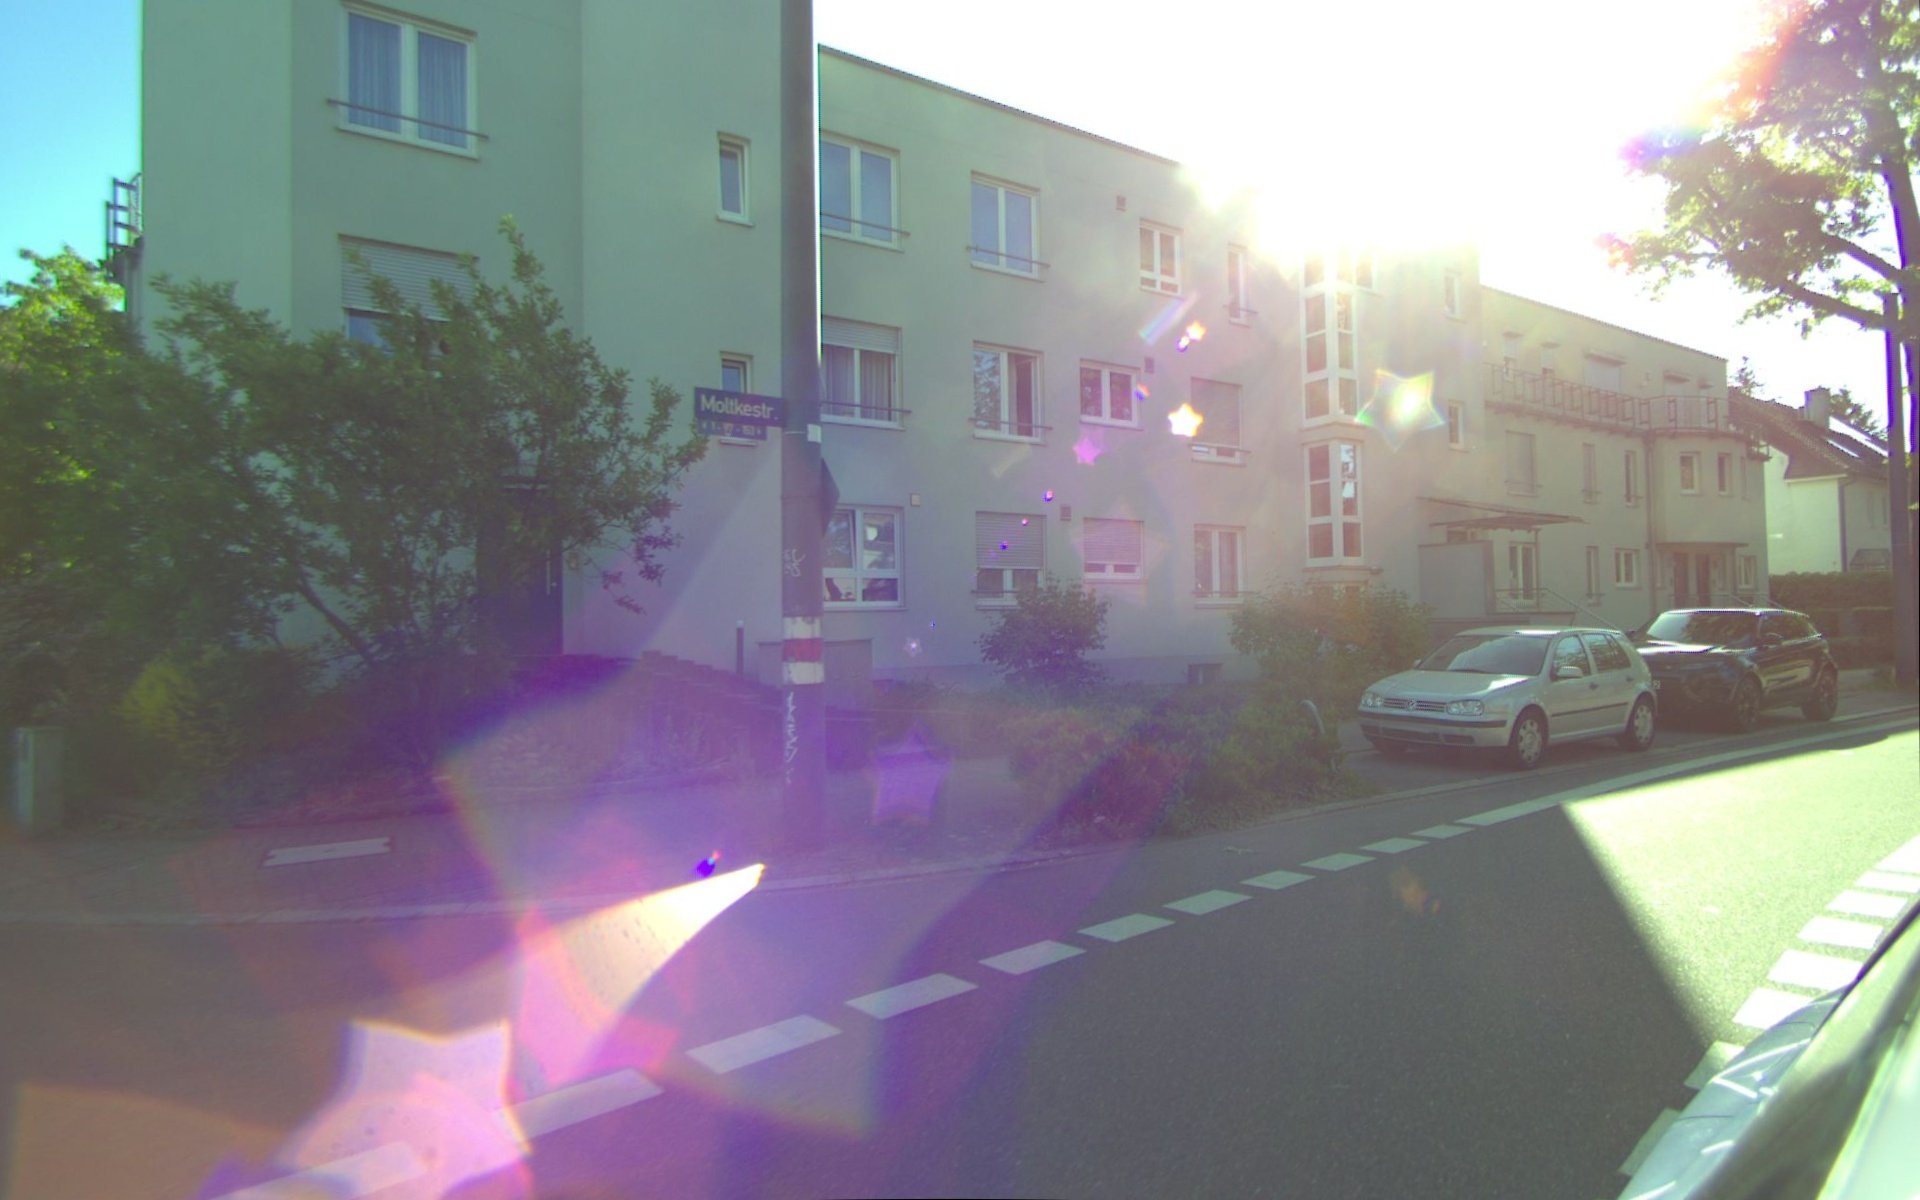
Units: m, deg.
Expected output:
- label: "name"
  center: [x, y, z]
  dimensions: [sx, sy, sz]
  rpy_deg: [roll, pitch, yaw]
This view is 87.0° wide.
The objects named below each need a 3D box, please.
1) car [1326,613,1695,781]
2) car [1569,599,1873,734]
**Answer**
- label: "car"
  center: [6.350, 0.956, 11.519]
  dimensions: [4.442, 1.515, 1.744]
  rpy_deg: [-1, -2, -33]
- label: "car"
  center: [11.054, 0.831, 14.628]
  dimensions: [4.510, 1.637, 2.001]
  rpy_deg: [-1, 0, -32]
